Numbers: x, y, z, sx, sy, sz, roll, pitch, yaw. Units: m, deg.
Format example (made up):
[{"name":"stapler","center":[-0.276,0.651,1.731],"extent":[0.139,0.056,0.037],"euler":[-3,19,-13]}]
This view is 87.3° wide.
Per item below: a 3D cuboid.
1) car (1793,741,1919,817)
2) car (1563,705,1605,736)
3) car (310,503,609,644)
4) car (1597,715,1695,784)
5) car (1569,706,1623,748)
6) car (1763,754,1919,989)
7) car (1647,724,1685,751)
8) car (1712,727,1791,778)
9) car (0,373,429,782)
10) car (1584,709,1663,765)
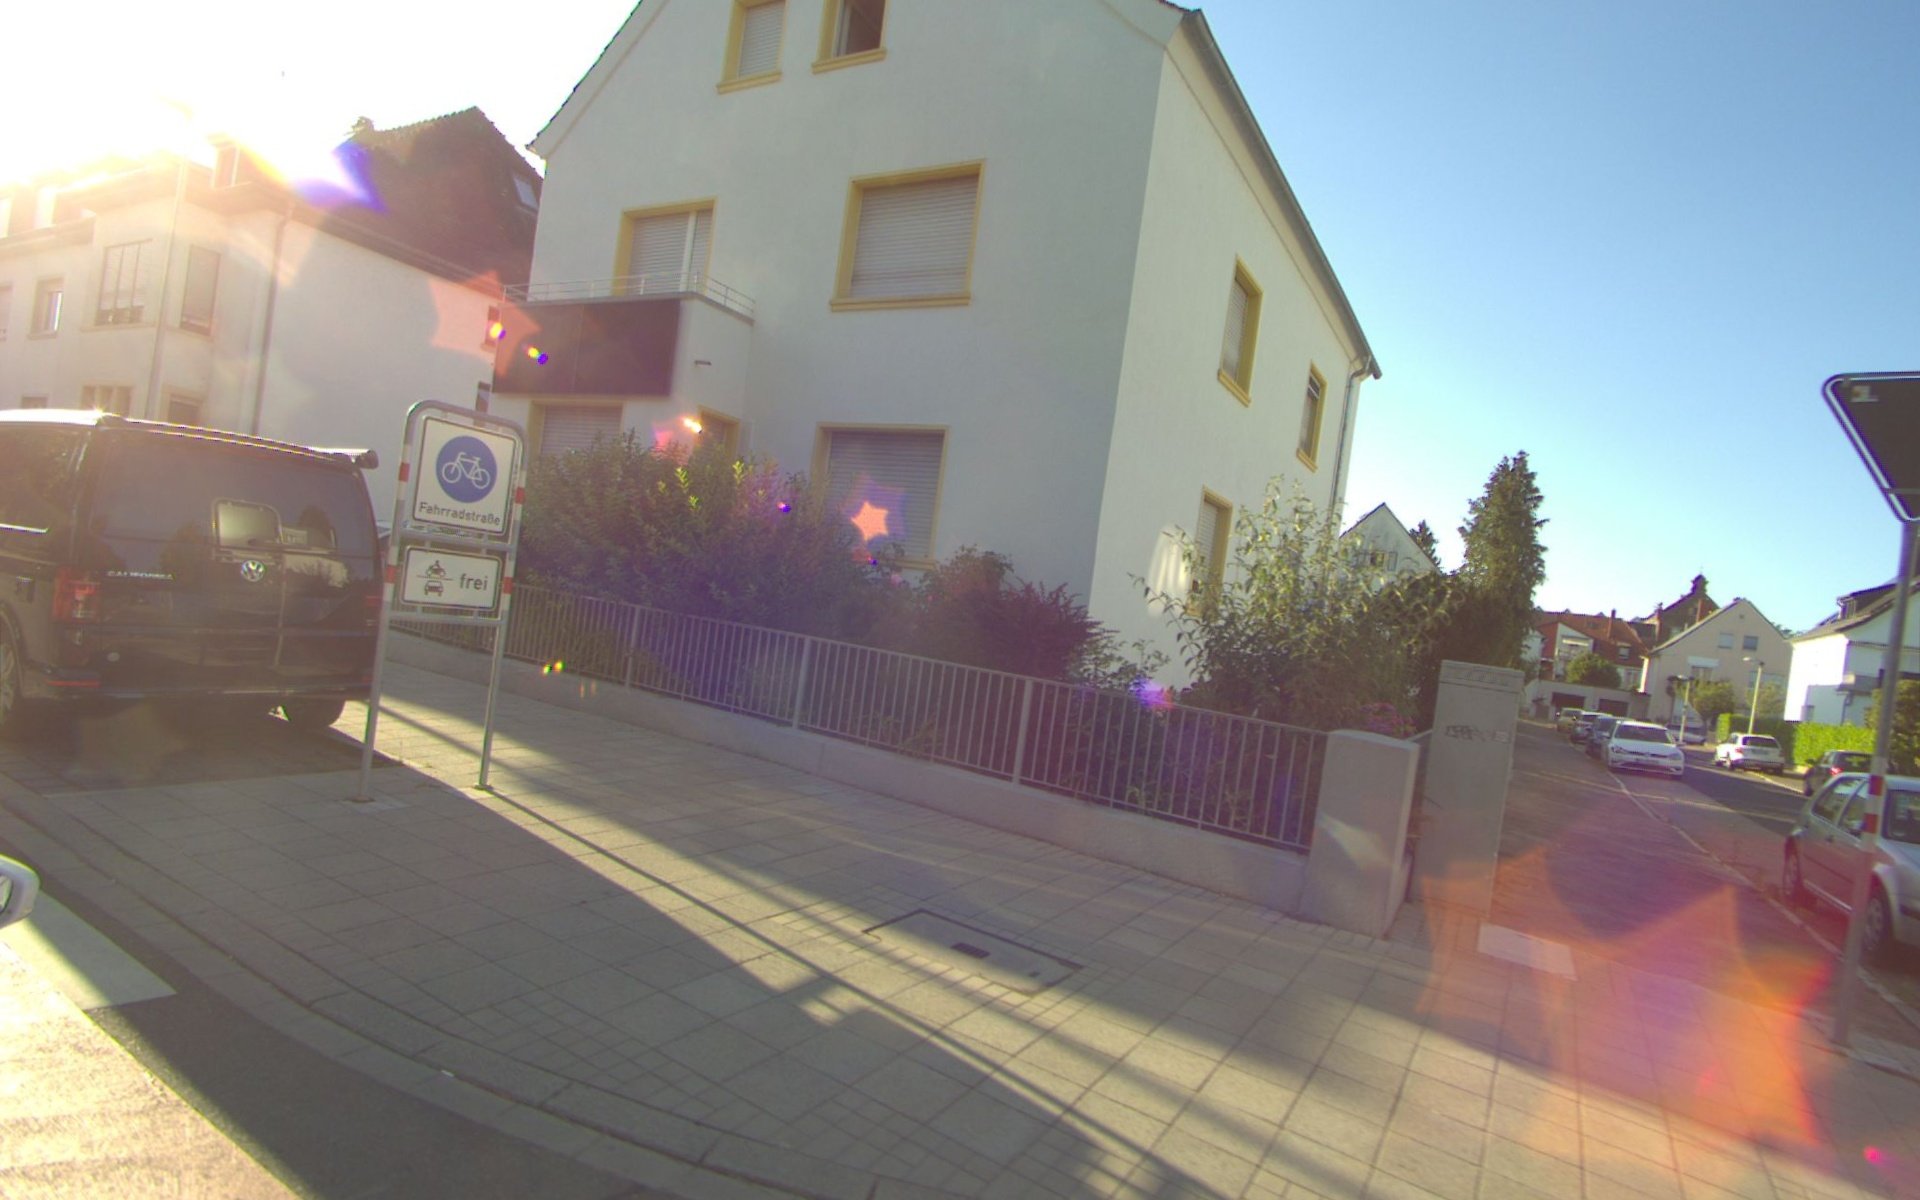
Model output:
[{"name":"car","center":[25.746,5.076,29.033],"extent":[1.771,1.553,4.386],"euler":[7,-1,31]},{"name":"car","center":[37.722,7.281,60.915],"extent":[1.770,1.552,4.129],"euler":[8,-2,29]},{"name":"car","center":[-8.504,-0.361,17.512],"extent":[1.821,1.745,4.230],"euler":[8,-2,28]},{"name":"car","center":[19.729,4.246,29.077],"extent":[1.770,1.552,4.129],"euler":[8,-2,29]},{"name":"car","center":[29.193,5.841,46.257],"extent":[1.771,1.552,4.390],"euler":[7,-2,31]},{"name":"car","center":[8.370,2.249,8.348],"extent":[1.862,1.486,4.082],"euler":[8,-2,29]},{"name":"car","center":[53.378,10.352,76.072],"extent":[1.771,1.553,4.387],"euler":[7,-1,30]},{"name":"car","center":[32.082,6.141,40.895],"extent":[1.771,1.553,4.386],"euler":[7,-1,31]},{"name":"car","center":[-6.217,-0.342,7.352],"extent":[4.735,2.159,1.907],"euler":[8,2,33]},{"name":"car","center":[22.883,4.701,34.825],"extent":[1.770,1.552,4.129],"euler":[8,-2,29]}]
